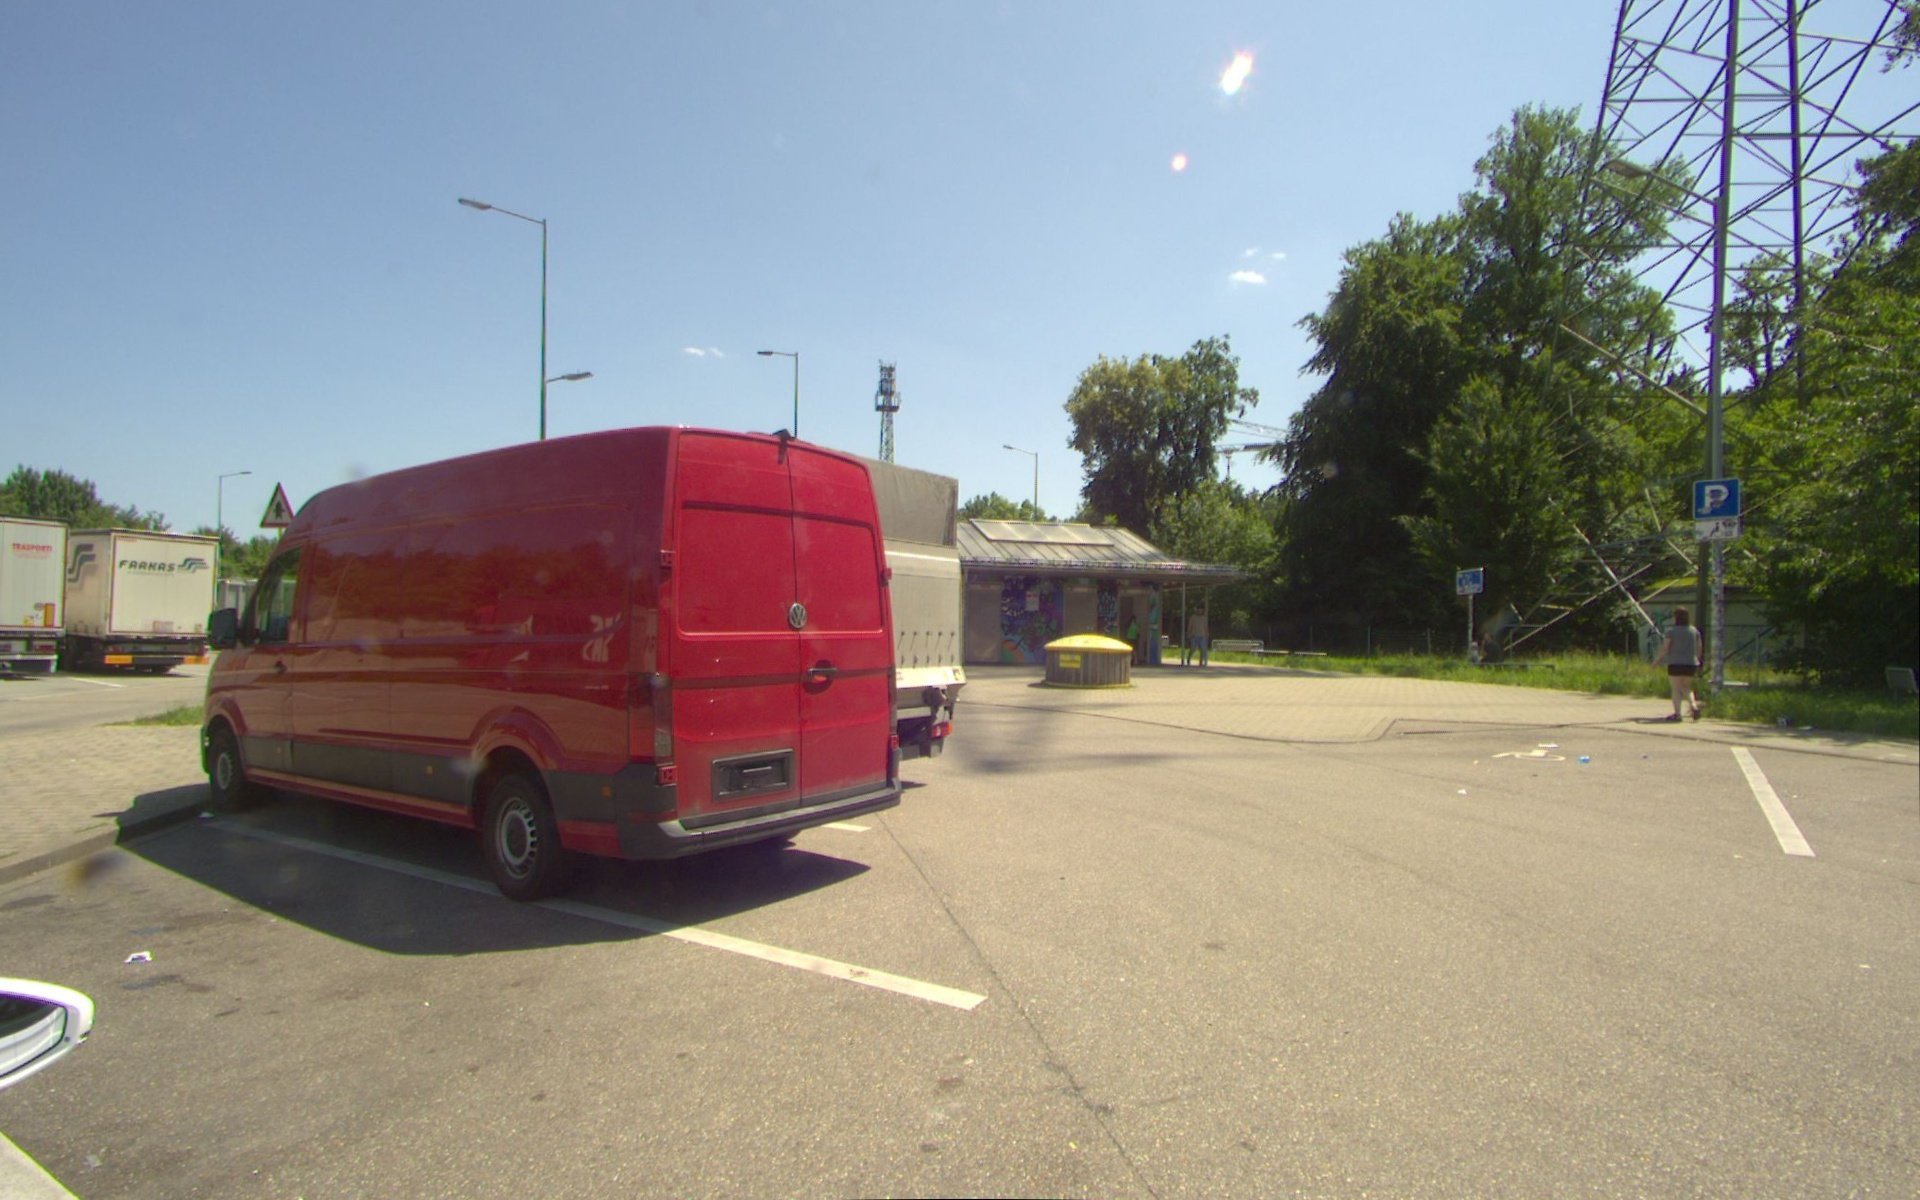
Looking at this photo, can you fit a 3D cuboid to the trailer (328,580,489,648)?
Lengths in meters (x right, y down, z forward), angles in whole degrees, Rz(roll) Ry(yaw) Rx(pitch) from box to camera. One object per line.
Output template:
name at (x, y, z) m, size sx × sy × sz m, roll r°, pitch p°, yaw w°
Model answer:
trailer at (-36.154, 0.856, 65.308) m, size 13.561 × 3.955 × 2.854 m, roll 1°, pitch -2°, yaw 32°

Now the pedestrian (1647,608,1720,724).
pedestrian at (10.730, 0.960, 14.870) m, size 0.675 × 1.670 × 0.714 m, roll -1°, pitch -1°, yaw 19°

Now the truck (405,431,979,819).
truck at (-3.072, 0.273, 10.491) m, size 6.372 × 2.944 × 2.411 m, roll -1°, pitch -2°, yaw 37°

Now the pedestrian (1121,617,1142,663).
pedestrian at (5.273, 1.228, 30.772) m, size 0.532 × 1.392 × 0.583 m, roll 0°, pitch -1°, yaw 0°

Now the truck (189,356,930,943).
truck at (-3.323, 0.301, 7.307) m, size 6.372 × 2.685 × 2.005 m, roll -1°, pitch -2°, yaw 37°

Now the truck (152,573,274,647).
truck at (-37.533, 0.485, 50.293) m, size 5.887 × 3.406 × 2.862 m, roll 1°, pitch -2°, yaw 32°

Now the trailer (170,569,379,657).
trailer at (-32.461, 0.493, 47.069) m, size 13.561 × 3.646 × 2.854 m, roll 1°, pitch -2°, yaw 32°

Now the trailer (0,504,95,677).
trailer at (-28.672, -0.334, 27.992) m, size 13.561 × 4.162 × 2.854 m, roll 1°, pitch -2°, yaw 32°

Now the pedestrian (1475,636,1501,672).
pedestrian at (14.659, 1.487, 27.786) m, size 0.439 × 0.987 × 0.460 m, roll 0°, pitch -1°, yaw -19°

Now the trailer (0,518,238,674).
trailer at (-27.599, -0.162, 31.579) m, size 13.561 × 4.162 × 2.854 m, roll 1°, pitch -2°, yaw 32°

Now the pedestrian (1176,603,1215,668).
pedestrian at (7.106, 1.074, 30.205) m, size 0.799 × 1.929 × 0.920 m, roll 0°, pitch -1°, yaw -15°

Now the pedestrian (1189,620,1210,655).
pedestrian at (11.090, 1.732, 46.383) m, size 0.798 × 1.639 × 0.921 m, roll 0°, pitch -1°, yaw 5°
